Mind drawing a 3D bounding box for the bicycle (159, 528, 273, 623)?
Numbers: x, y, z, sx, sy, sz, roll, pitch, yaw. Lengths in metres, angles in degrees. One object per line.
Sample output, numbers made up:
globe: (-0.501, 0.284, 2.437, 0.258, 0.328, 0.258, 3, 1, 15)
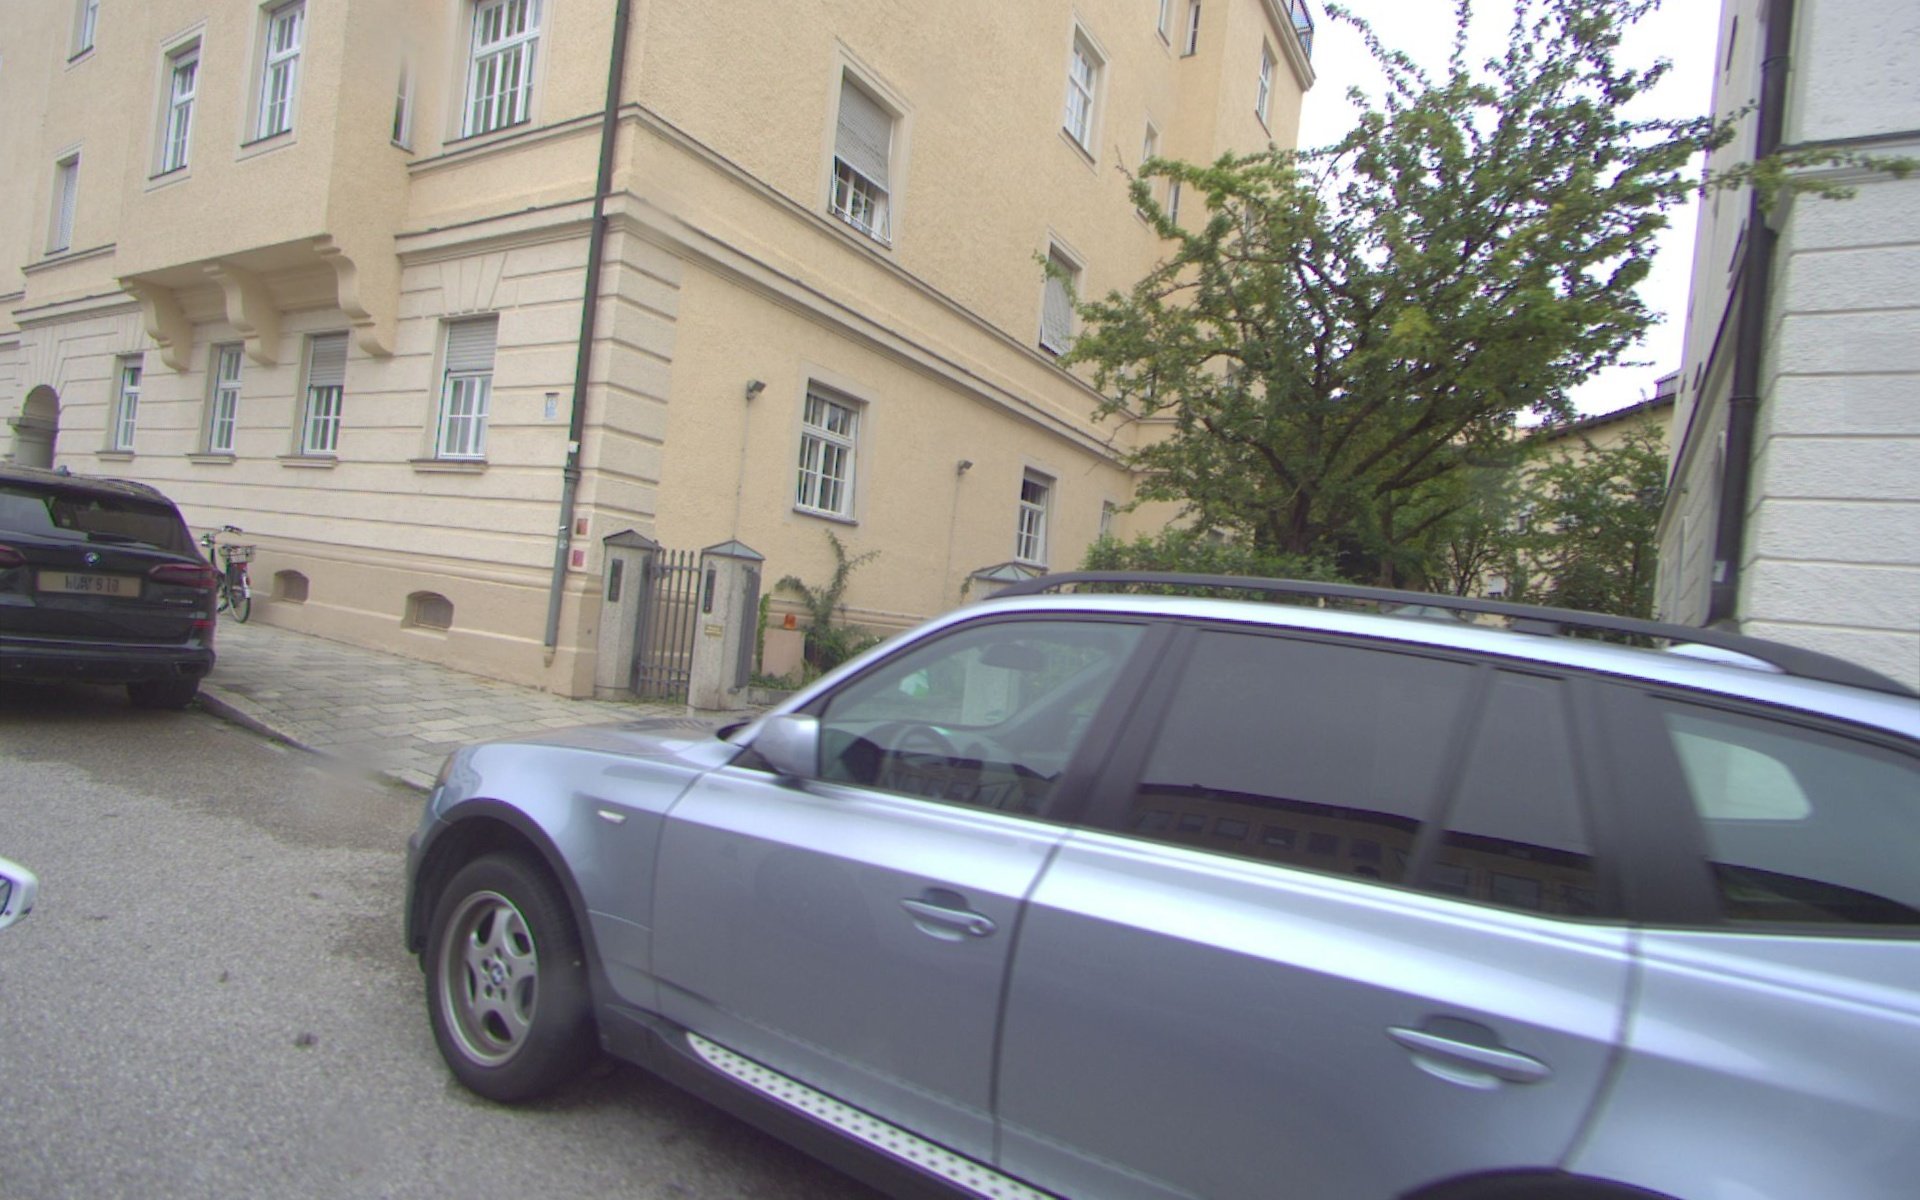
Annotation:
bicycle: (-9.888, -0.341, 13.343, 2.103, 1.063, 0.501, 7, 3, 34)

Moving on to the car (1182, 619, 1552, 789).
car: (5.048, 1.219, 12.587, 3.934, 1.474, 1.861, 5, -2, 31)

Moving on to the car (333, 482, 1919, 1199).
car: (0.487, 0.764, 2.788, 4.423, 1.683, 1.849, 7, -1, 31)

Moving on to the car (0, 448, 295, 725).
car: (-7.897, -0.273, 8.205, 4.941, 1.759, 2.173, 7, -1, 33)
